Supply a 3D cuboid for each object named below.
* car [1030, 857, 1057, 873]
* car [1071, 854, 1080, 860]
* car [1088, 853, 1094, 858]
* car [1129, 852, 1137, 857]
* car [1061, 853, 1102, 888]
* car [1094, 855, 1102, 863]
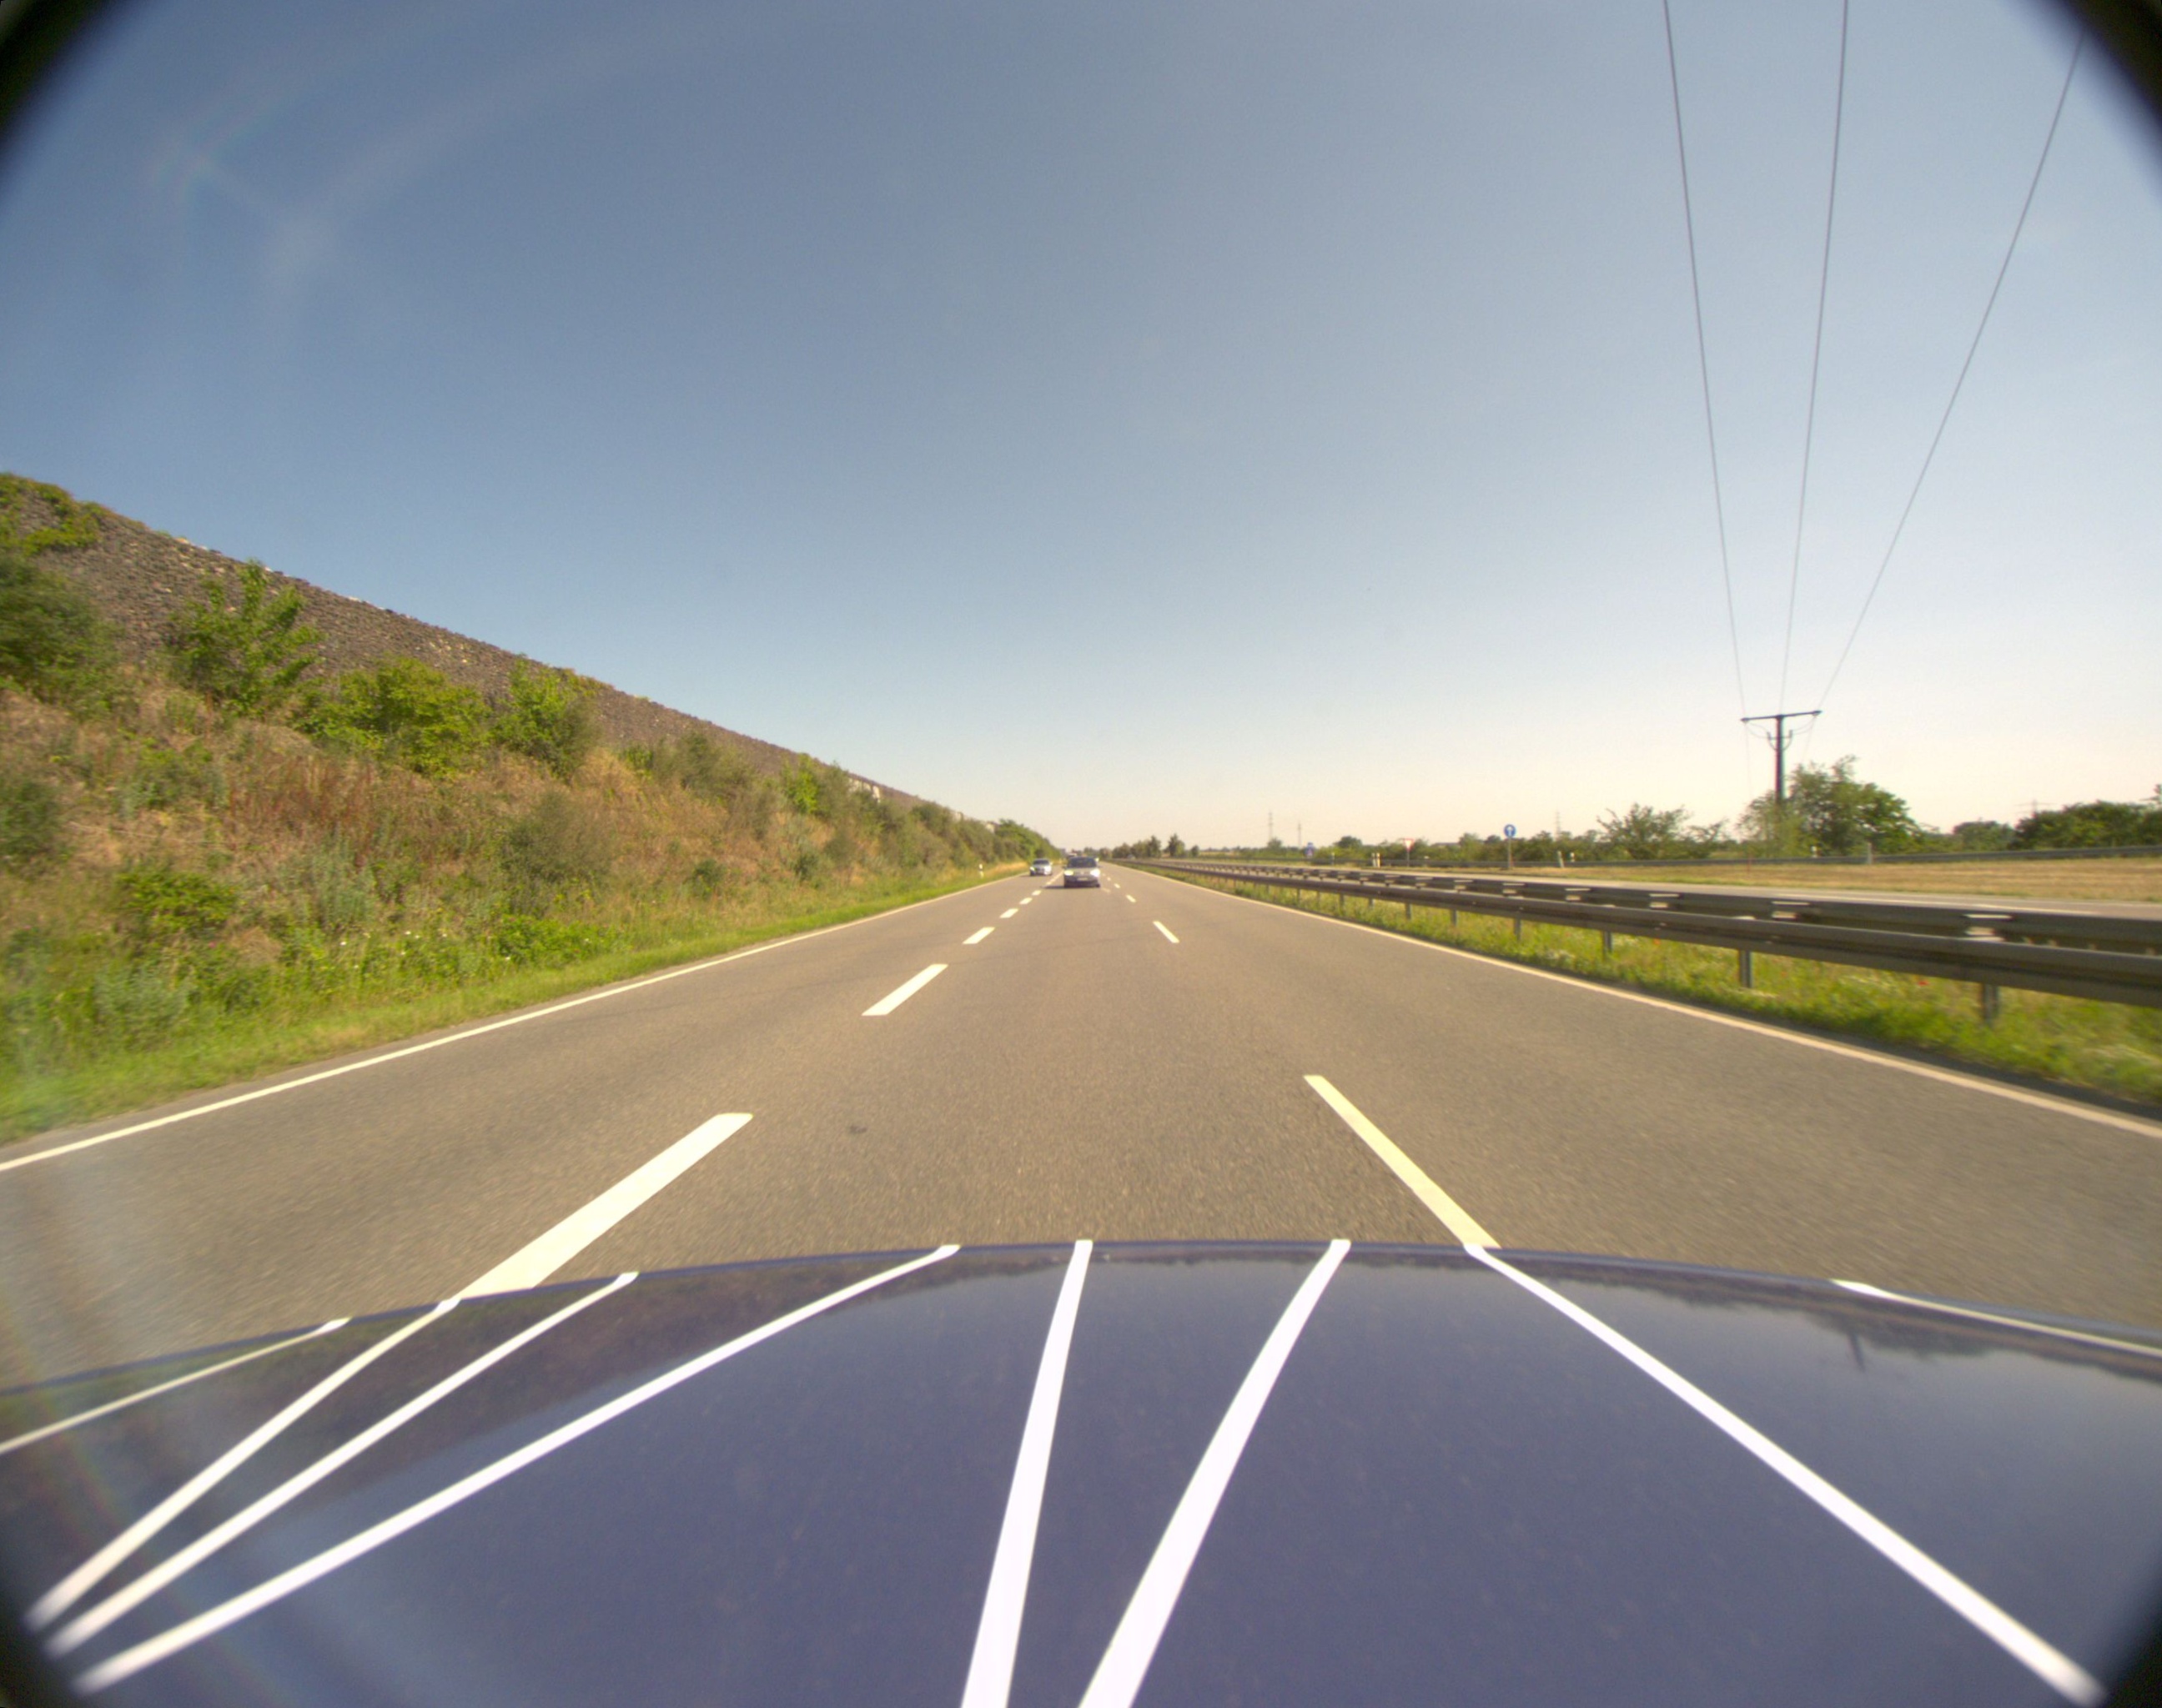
[{"bbox_3d":[-3.195,0.968,65.674,1.854,1.212,4.000,-3,0,3],"label":"car"},{"bbox_3d":[-1.171,0.593,155.623,1.790,1.212,3.999,-2,0,-1],"label":"car"},{"bbox_3d":[3.074,0.428,238.202,1.854,1.602,4.000,-2,0,1],"label":"car"},{"bbox_3d":[14.473,0.118,211.401,1.704,1.476,4.619,-4,0,-1],"label":"car"},{"bbox_3d":[0.091,0.784,38.484,1.854,1.635,4.001,-2,0,3],"label":"car"},{"bbox_3d":[3.994,1.142,179.410,1.790,1.659,3.999,-2,0,-2],"label":"car"}]
